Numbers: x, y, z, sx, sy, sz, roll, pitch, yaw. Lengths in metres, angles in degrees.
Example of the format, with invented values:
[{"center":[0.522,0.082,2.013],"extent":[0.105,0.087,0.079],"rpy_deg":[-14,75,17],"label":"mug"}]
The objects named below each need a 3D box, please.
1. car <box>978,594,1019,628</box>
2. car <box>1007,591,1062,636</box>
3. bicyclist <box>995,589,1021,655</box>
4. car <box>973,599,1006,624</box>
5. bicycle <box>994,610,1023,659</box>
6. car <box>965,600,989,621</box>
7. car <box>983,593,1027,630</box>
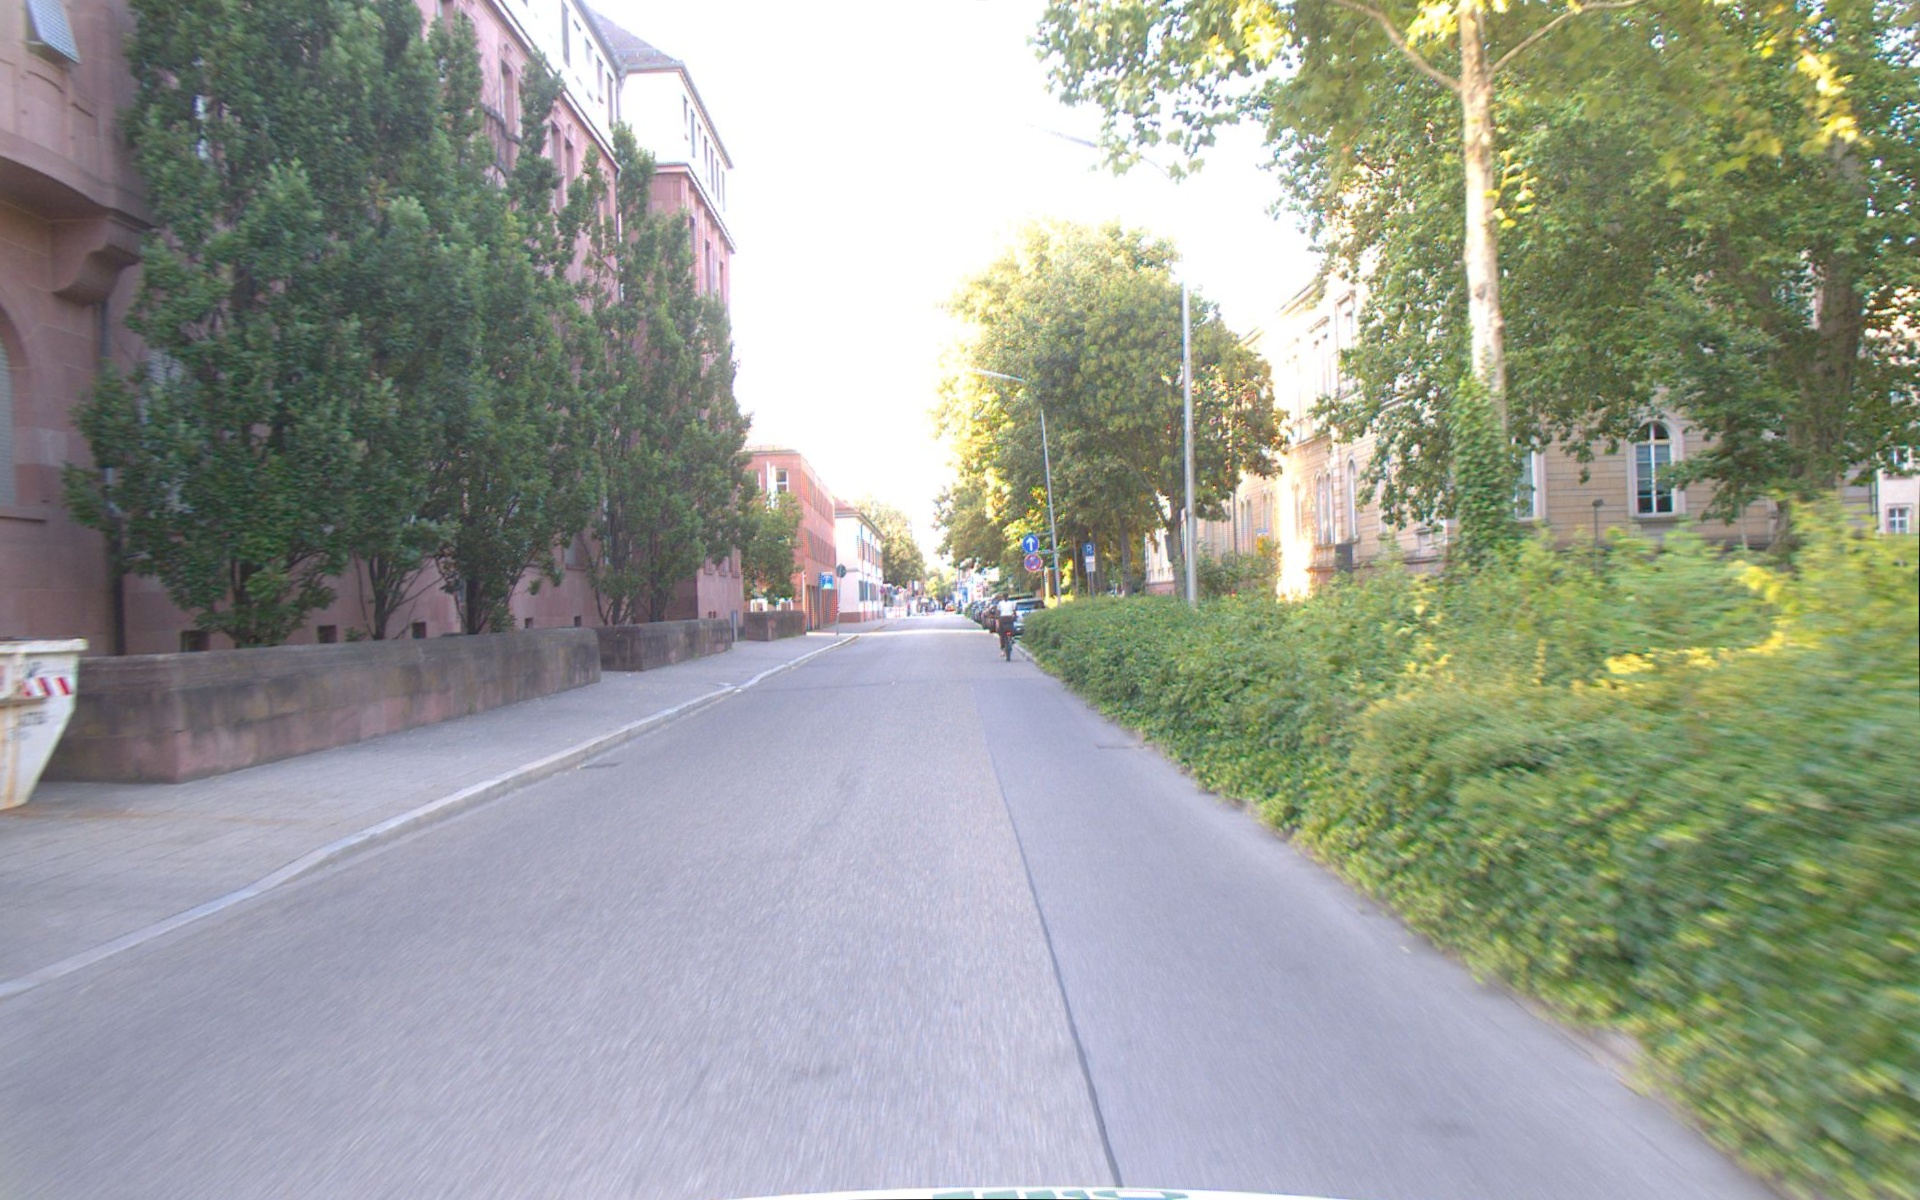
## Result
[{"center":[2.099,0.611,91.411],"extent":[1.953,1.735,3.999],"rpy_deg":[-3,0,-2],"label":"car"},{"center":[2.749,0.515,61.772],"extent":[1.652,1.472,3.670],"rpy_deg":[-5,-1,-2],"label":"car"},{"center":[1.245,0.557,43.145],"extent":[0.626,1.696,0.842],"rpy_deg":[0,0,-2],"label":"bicyclist"},{"center":[1.980,0.763,112.043],"extent":[1.953,1.612,3.999],"rpy_deg":[-3,0,-2],"label":"car"},{"center":[1.249,0.877,43.032],"extent":[0.625,1.214,1.875],"rpy_deg":[0,0,-2],"label":"bicycle"},{"center":[1.567,0.956,149.824],"extent":[1.953,1.779,3.999],"rpy_deg":[-3,0,-2],"label":"car"},{"center":[2.047,0.524,75.568],"extent":[1.681,1.564,4.046],"rpy_deg":[-3,0,-2],"label":"car"}]
